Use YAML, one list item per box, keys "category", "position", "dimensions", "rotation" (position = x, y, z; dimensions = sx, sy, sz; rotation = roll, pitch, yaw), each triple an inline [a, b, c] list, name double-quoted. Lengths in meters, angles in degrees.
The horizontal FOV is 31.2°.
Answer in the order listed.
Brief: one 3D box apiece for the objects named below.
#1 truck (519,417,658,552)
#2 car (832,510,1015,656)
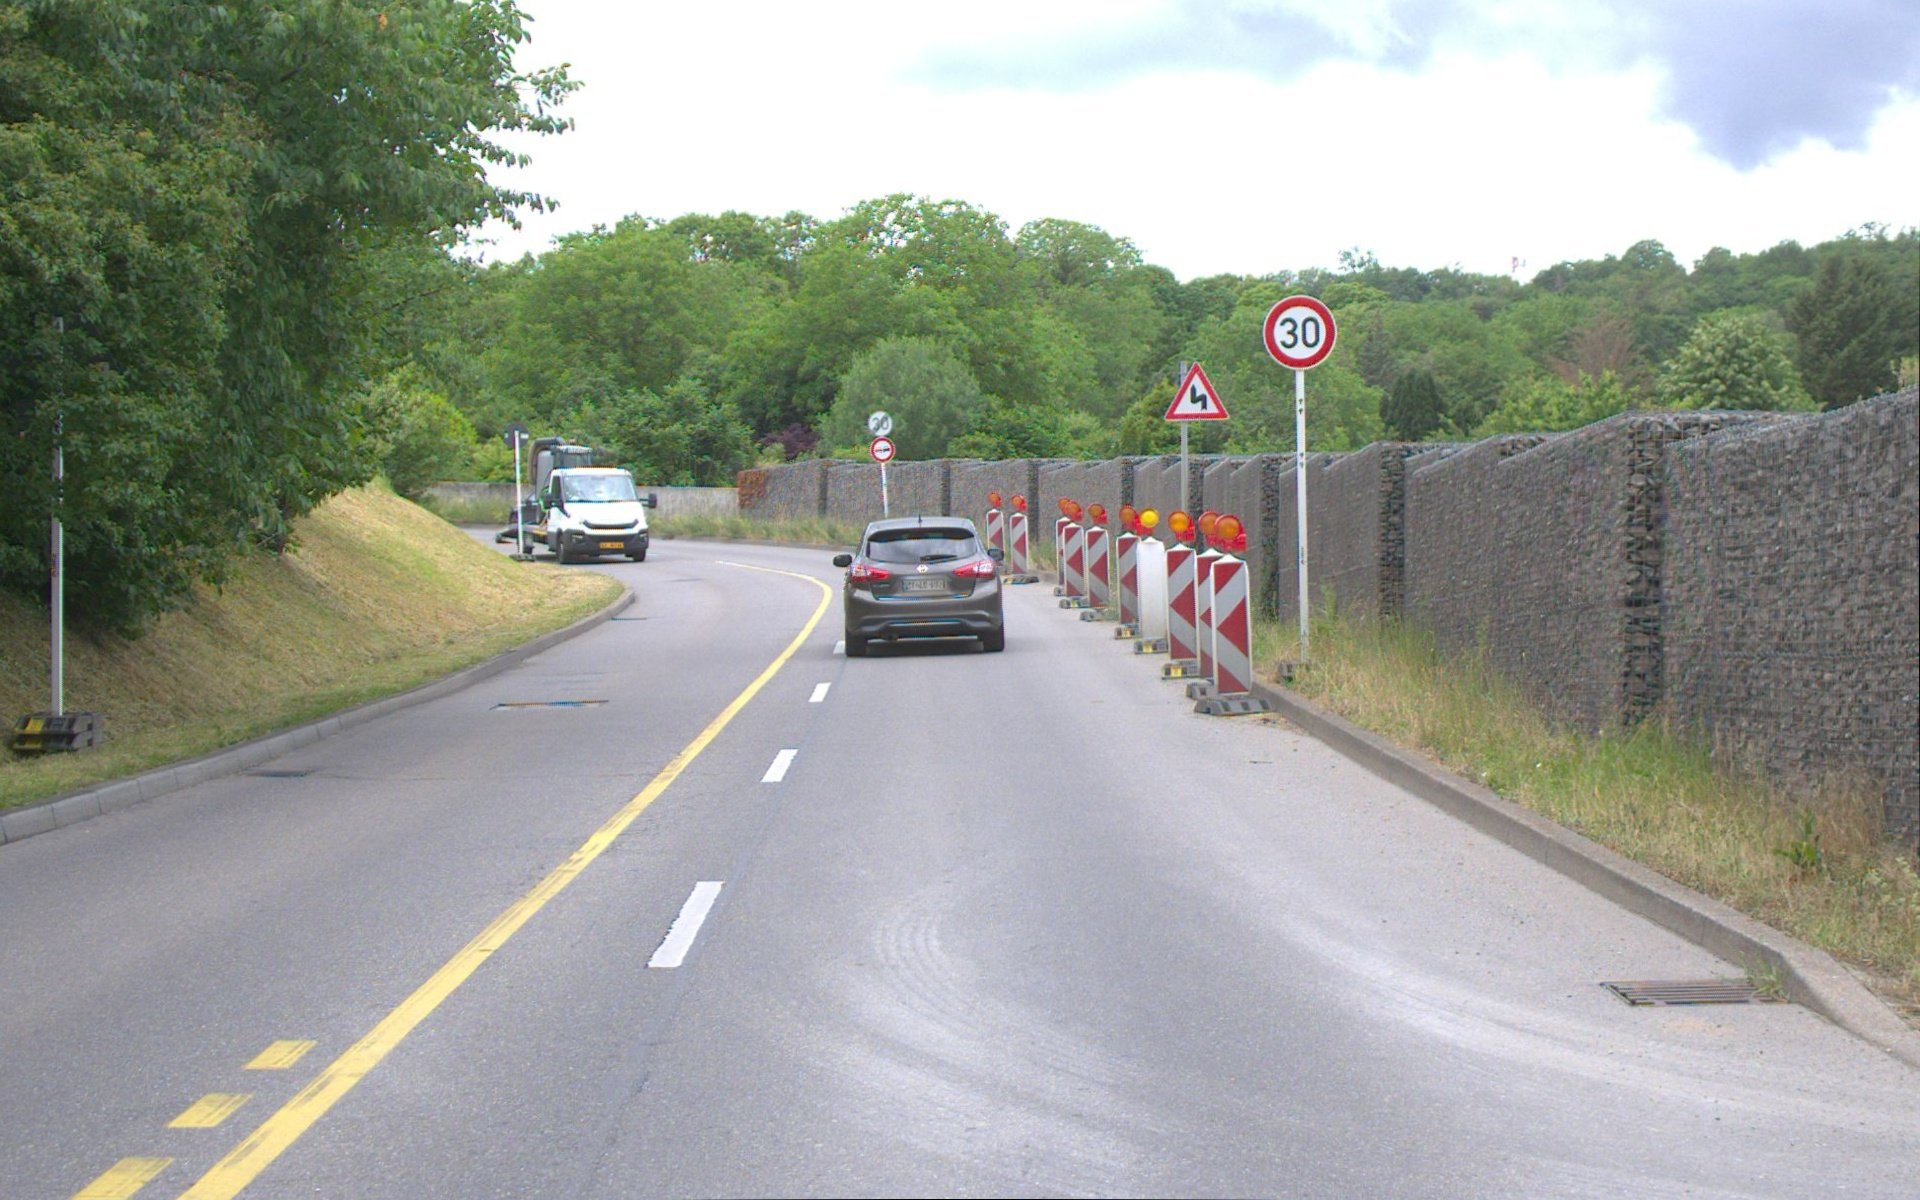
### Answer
- category: "truck"
  position: [-8.905, -2.729, 81.763]
  dimensions: [2.214, 3.004, 7.742]
  rotation: [-2, 2, -13]
- category: "car"
  position: [-0.468, -0.239, 39.305]
  dimensions: [1.839, 1.478, 4.001]
  rotation: [-2, 2, -3]
